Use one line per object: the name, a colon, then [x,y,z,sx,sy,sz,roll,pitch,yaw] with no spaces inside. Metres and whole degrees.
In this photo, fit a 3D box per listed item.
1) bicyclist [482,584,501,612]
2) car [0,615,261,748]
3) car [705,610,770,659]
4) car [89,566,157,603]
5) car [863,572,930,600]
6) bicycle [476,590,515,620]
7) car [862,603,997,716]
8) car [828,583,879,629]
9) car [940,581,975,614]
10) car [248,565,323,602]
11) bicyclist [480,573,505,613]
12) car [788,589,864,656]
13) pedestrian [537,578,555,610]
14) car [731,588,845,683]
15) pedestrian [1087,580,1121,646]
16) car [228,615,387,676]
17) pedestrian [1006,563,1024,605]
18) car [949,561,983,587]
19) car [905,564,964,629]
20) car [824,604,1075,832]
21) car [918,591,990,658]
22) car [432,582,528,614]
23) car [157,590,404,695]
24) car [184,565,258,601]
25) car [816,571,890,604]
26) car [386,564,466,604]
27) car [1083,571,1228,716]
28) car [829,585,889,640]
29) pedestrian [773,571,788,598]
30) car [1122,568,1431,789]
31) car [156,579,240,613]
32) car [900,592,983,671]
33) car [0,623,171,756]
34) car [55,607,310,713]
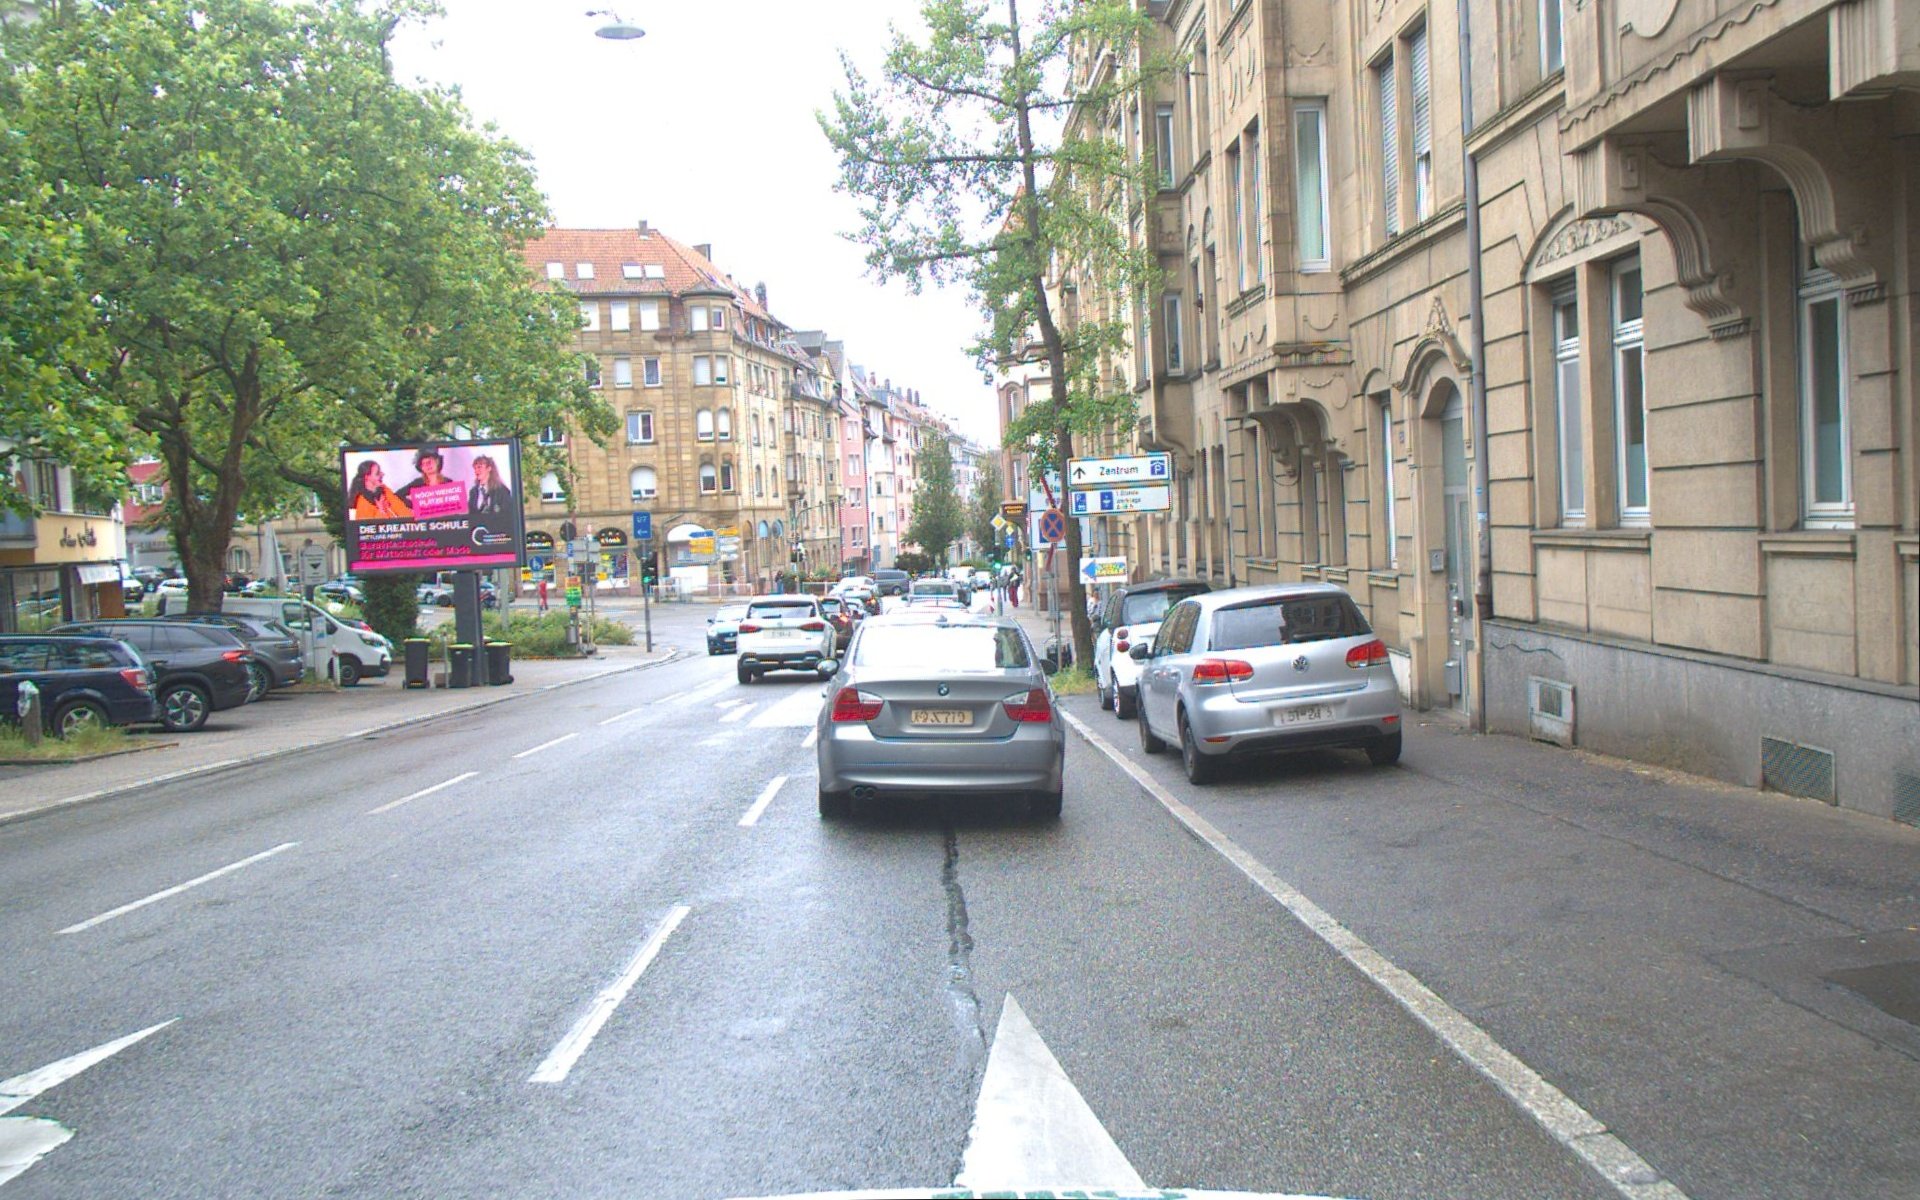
bicyclist: [-22.147,-0.087,78.215,0.557,1.295,0.689,0,-1,20]
car: [-12.808,1.189,24.683,4.308,1.701,1.842,-3,0,-24]
car: [-7.244,1.099,54.105,1.680,1.476,3.741,-2,0,-1]
car: [-47.558,-0.887,93.941,3.913,2.049,1.573,-1,0,31]
car: [-4.895,-1.082,128.303,5.072,2.049,2.698,1,-1,-1]
bicycle: [-22.027,0.213,78.419,0.657,1.343,2.277,-3,0,15]
car: [-0.381,0.772,23.320,1.723,1.407,4.000,-1,0,0]
car: [-4.236,0.227,66.212,1.723,1.737,4.000,-1,0,0]
car: [-0.090,-0.109,85.202,1.689,1.580,4.000,1,-1,1]
car: [-40.632,-1.025,99.640,4.196,2.138,1.998,1,2,28]
bicyclist: [-22.084,-0.319,78.185,0.766,1.852,0.771,-3,0,15]
car: [-3.625,0.592,45.458,1.723,1.737,4.000,-1,0,0]
pedestrian: [-21.258,-0.307,84.921,0.526,1.605,0.719,-2,0,23]
car: [-3.333,0.639,32.650,1.830,1.654,3.999,-3,0,-1]
pedestrian: [3.519,0.322,40.523,0.618,1.534,0.693,-6,0,-2]
car: [-17.679,1.209,44.930,3.916,1.476,1.757,-2,0,-22]
pedestrian: [2.592,-0.741,77.748,0.727,1.943,0.659,-2,0,-2]
car: [0.415,-1.732,112.233,1.951,1.606,4.002,1,-1,5]
car: [-0.868,-0.096,56.644,1.953,2.143,3.999,0,0,-1]
car: [-0.057,0.759,12.368,1.590,1.407,3.615,-1,0,0]
car: [-0.199,0.596,42.406,1.724,1.594,3.999,-1,0,-2]
car: [-26.014,-0.100,89.731,4.543,1.606,2.000,1,-1,1]
car: [-15.282,0.921,37.426,4.989,2.142,1.979,-2,0,-22]
car: [-45.498,-1.069,101.864,4.196,2.138,1.998,1,2,28]
car: [-5.559,-0.646,86.665,1.957,1.606,3.991,0,-1,31]
car: [-30.400,-0.939,94.186,4.196,2.138,1.998,1,2,28]
car: [2.408,0.502,20.941,1.273,1.569,2.975,-6,0,-1]
car: [-3.335,0.387,55.403,1.723,1.737,4.000,-1,0,0]
pedestrian: [-10.711,-0.944,98.751,0.716,1.605,0.528,-2,0,8]
car: [2.583,0.584,14.462,1.725,1.476,3.999,-6,0,-1]
car: [-41.477,-0.225,89.992,4.155,1.756,1.998,0,3,28]
car: [-0.340,0.579,33.281,1.562,1.490,4.000,0,0,0]
car: [-12.973,1.232,22.032,4.299,1.601,1.929,-3,0,-24]
car: [-14.961,1.119,32.107,4.295,1.815,1.927,-2,0,-22]
